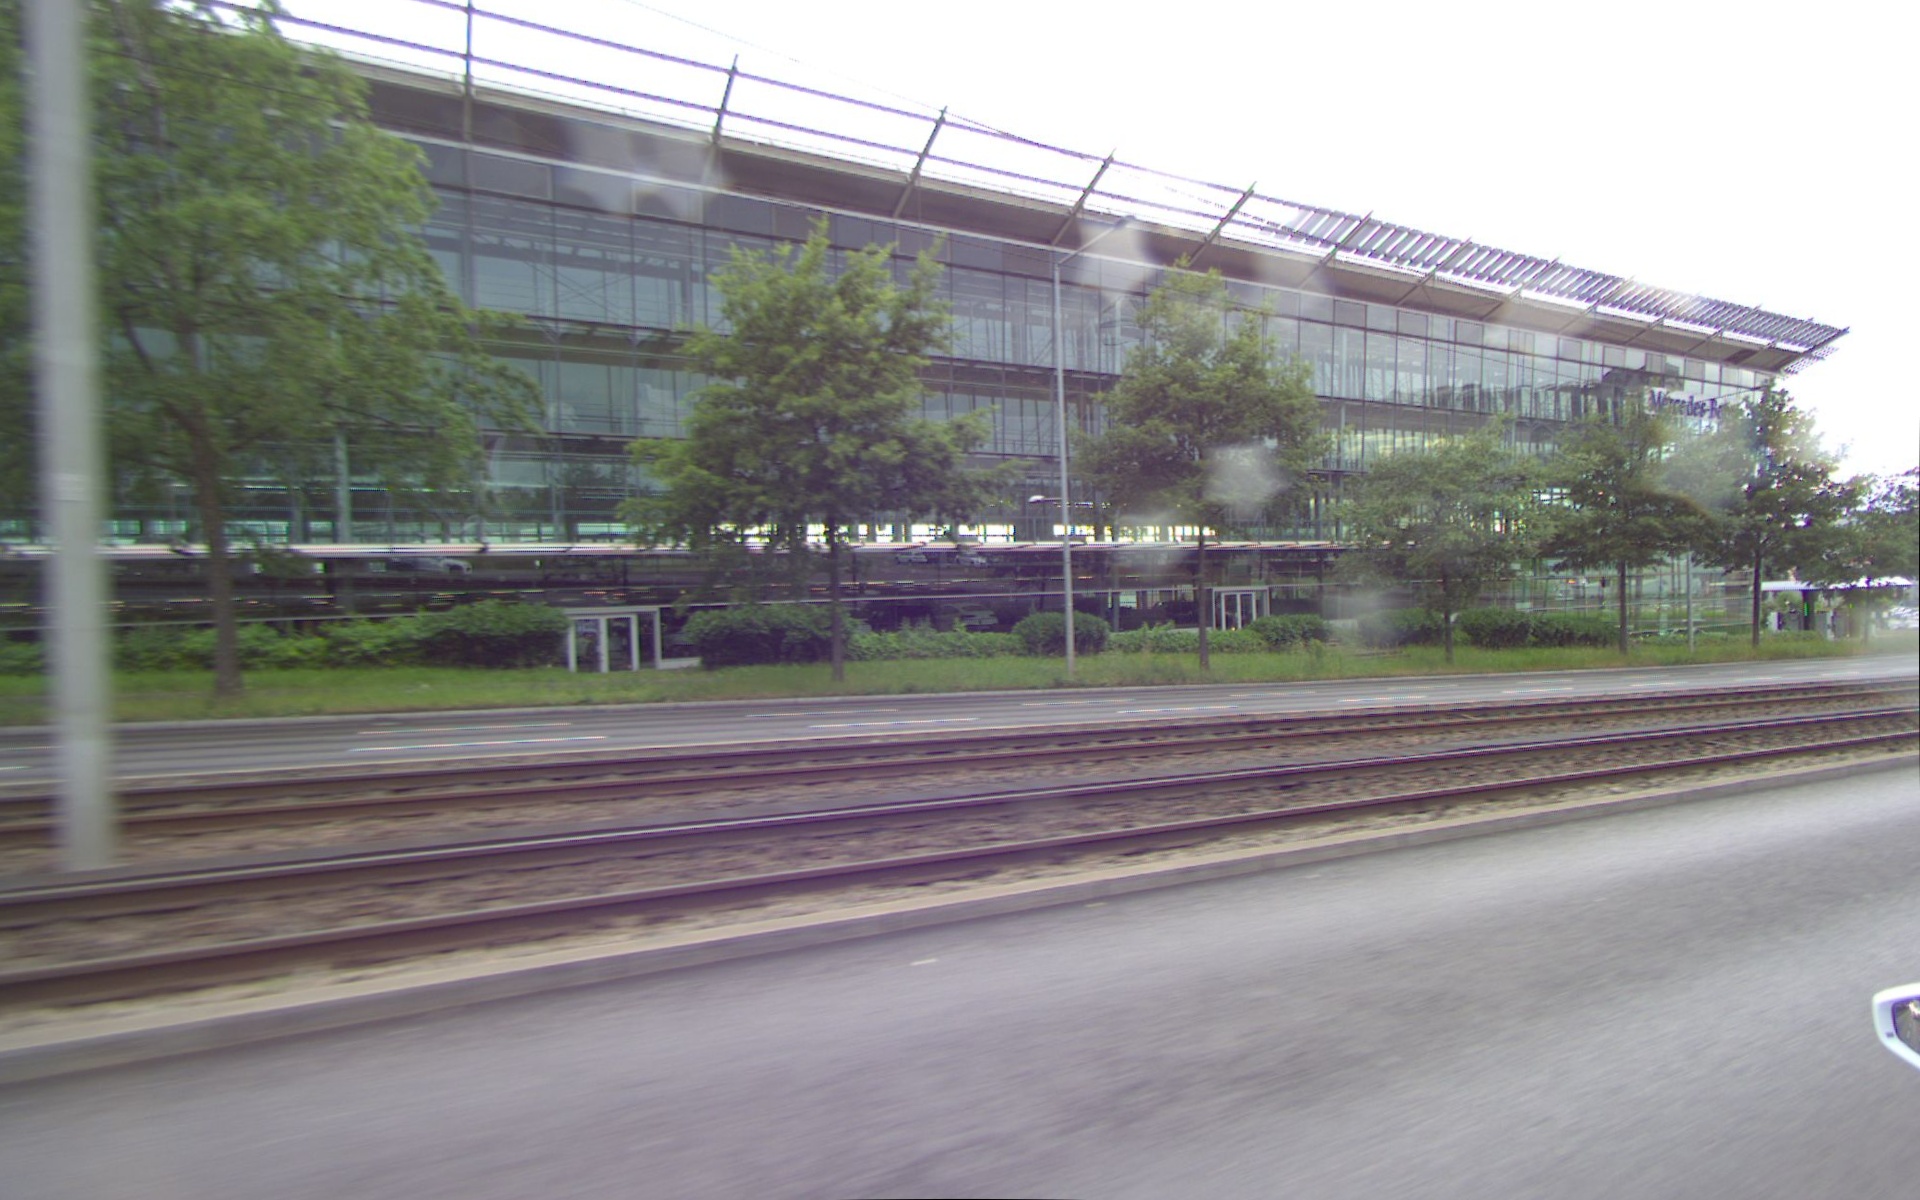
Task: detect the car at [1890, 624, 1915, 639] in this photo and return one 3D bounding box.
[{"bbox_3d":[107.862,3.592,115.022,1.730,1.514,3.983,2,0,39],"label":"car"}]
